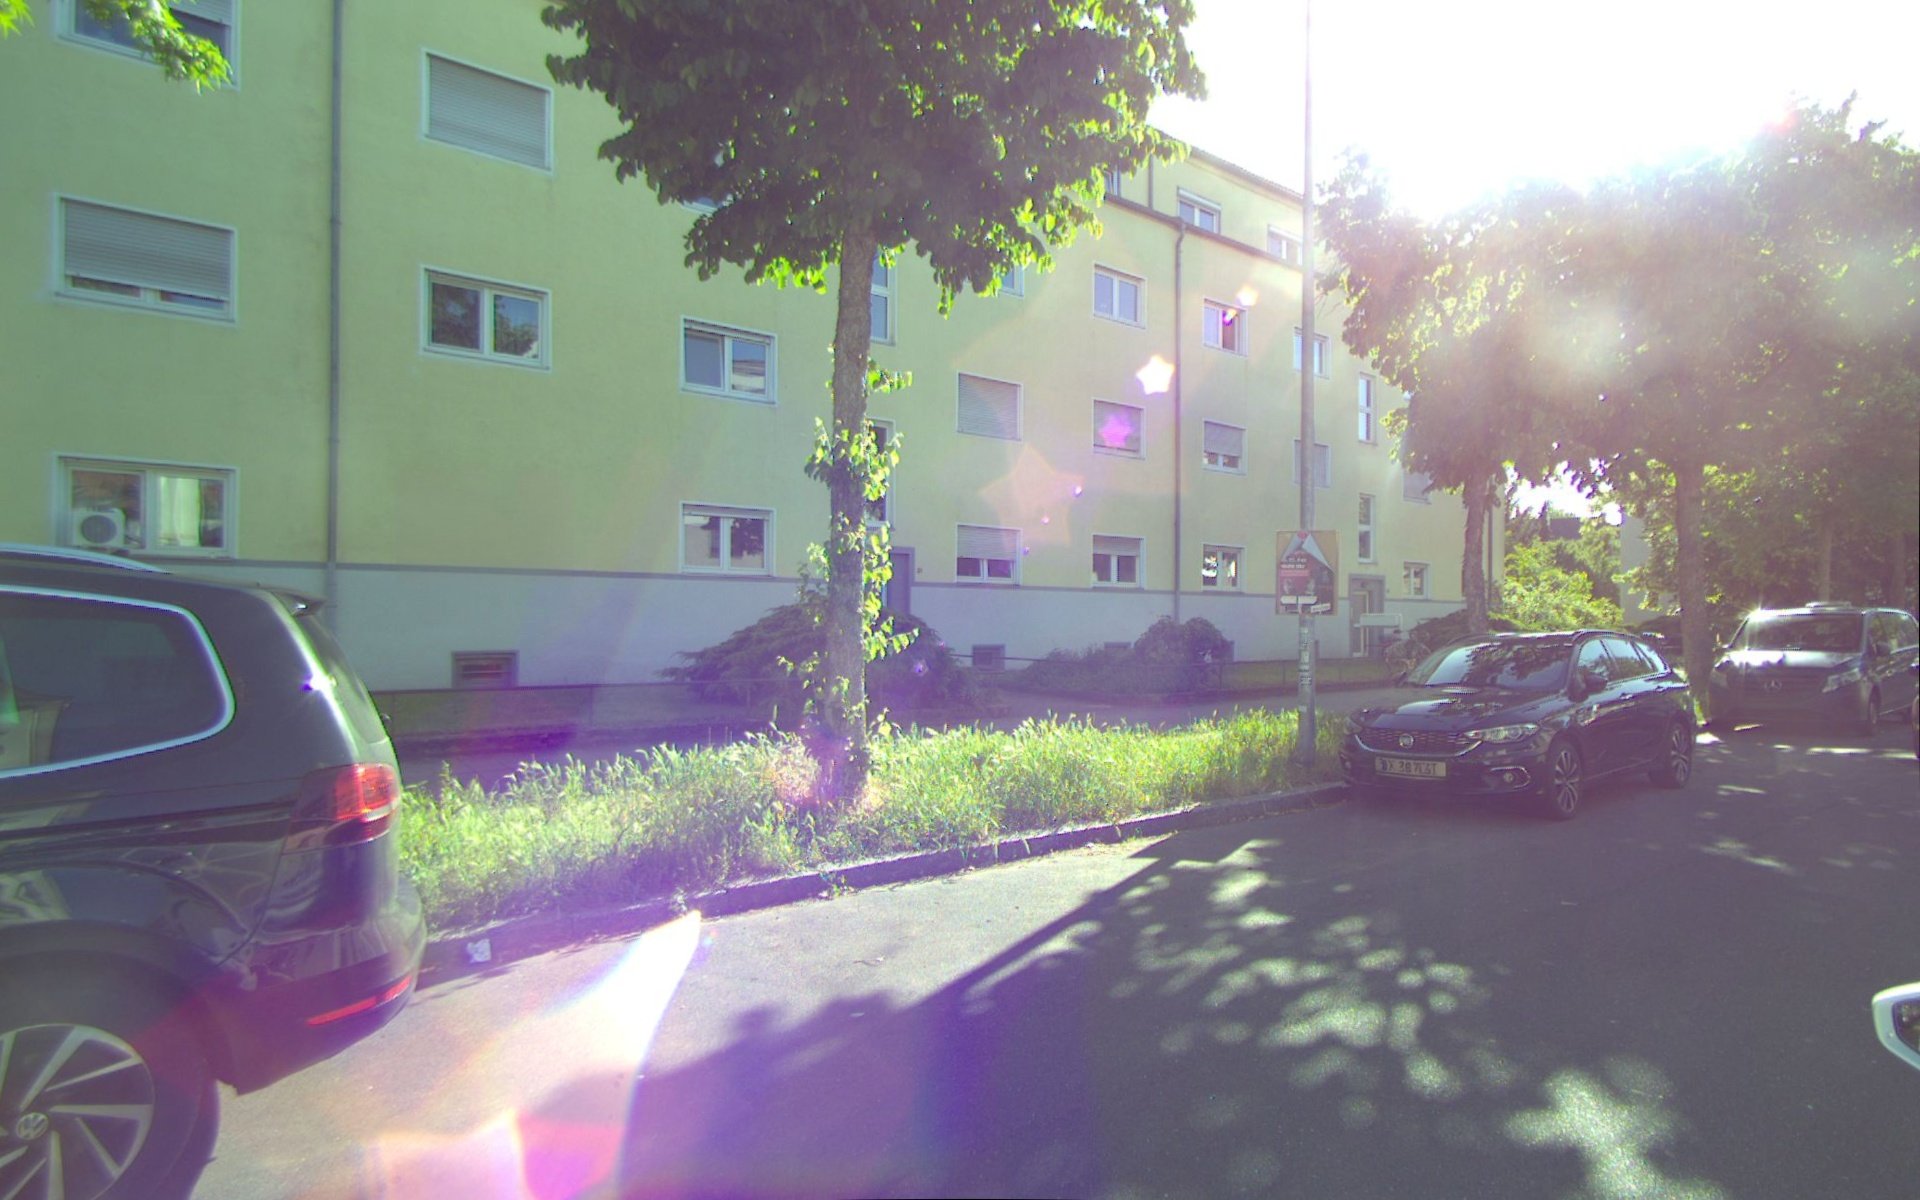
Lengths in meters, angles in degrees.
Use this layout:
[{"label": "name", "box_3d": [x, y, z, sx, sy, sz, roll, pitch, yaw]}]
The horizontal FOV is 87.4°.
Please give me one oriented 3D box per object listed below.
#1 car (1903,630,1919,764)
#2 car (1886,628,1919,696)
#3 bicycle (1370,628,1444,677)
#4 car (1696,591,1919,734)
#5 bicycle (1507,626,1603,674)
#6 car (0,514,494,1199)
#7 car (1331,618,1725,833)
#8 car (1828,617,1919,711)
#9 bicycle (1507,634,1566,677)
[{"label": "car", "box_3d": [12.025, 1.058, 11.281, 3.146, 1.445, 1.495, 1, -2, -35]}, {"label": "car", "box_3d": [22.248, 1.354, 22.488, 4.022, 1.446, 1.600, 1, -2, -38]}, {"label": "bicycle", "box_3d": [9.443, 1.086, 21.170, 1.910, 1.005, 0.590, 1, -1, -38]}, {"label": "car", "box_3d": [13.585, 0.920, 15.808, 5.094, 1.929, 1.813, 1, -3, -37]}, {"label": "bicycle", "box_3d": [15.995, 1.322, 27.023, 2.121, 1.224, 0.686, -1, -2, 43]}, {"label": "car", "box_3d": [-3.849, 0.686, 2.132, 4.932, 1.702, 1.836, 1, -4, -38]}, {"label": "car", "box_3d": [5.492, 0.998, 9.417, 4.736, 1.568, 1.496, 1, -4, -38]}, {"label": "car", "box_3d": [18.116, 1.167, 19.233, 4.195, 1.632, 1.599, 1, -2, -40]}, {"label": "bicycle", "box_3d": [14.181, 1.345, 24.690, 1.910, 1.005, 0.590, 1, -1, -38]}]
